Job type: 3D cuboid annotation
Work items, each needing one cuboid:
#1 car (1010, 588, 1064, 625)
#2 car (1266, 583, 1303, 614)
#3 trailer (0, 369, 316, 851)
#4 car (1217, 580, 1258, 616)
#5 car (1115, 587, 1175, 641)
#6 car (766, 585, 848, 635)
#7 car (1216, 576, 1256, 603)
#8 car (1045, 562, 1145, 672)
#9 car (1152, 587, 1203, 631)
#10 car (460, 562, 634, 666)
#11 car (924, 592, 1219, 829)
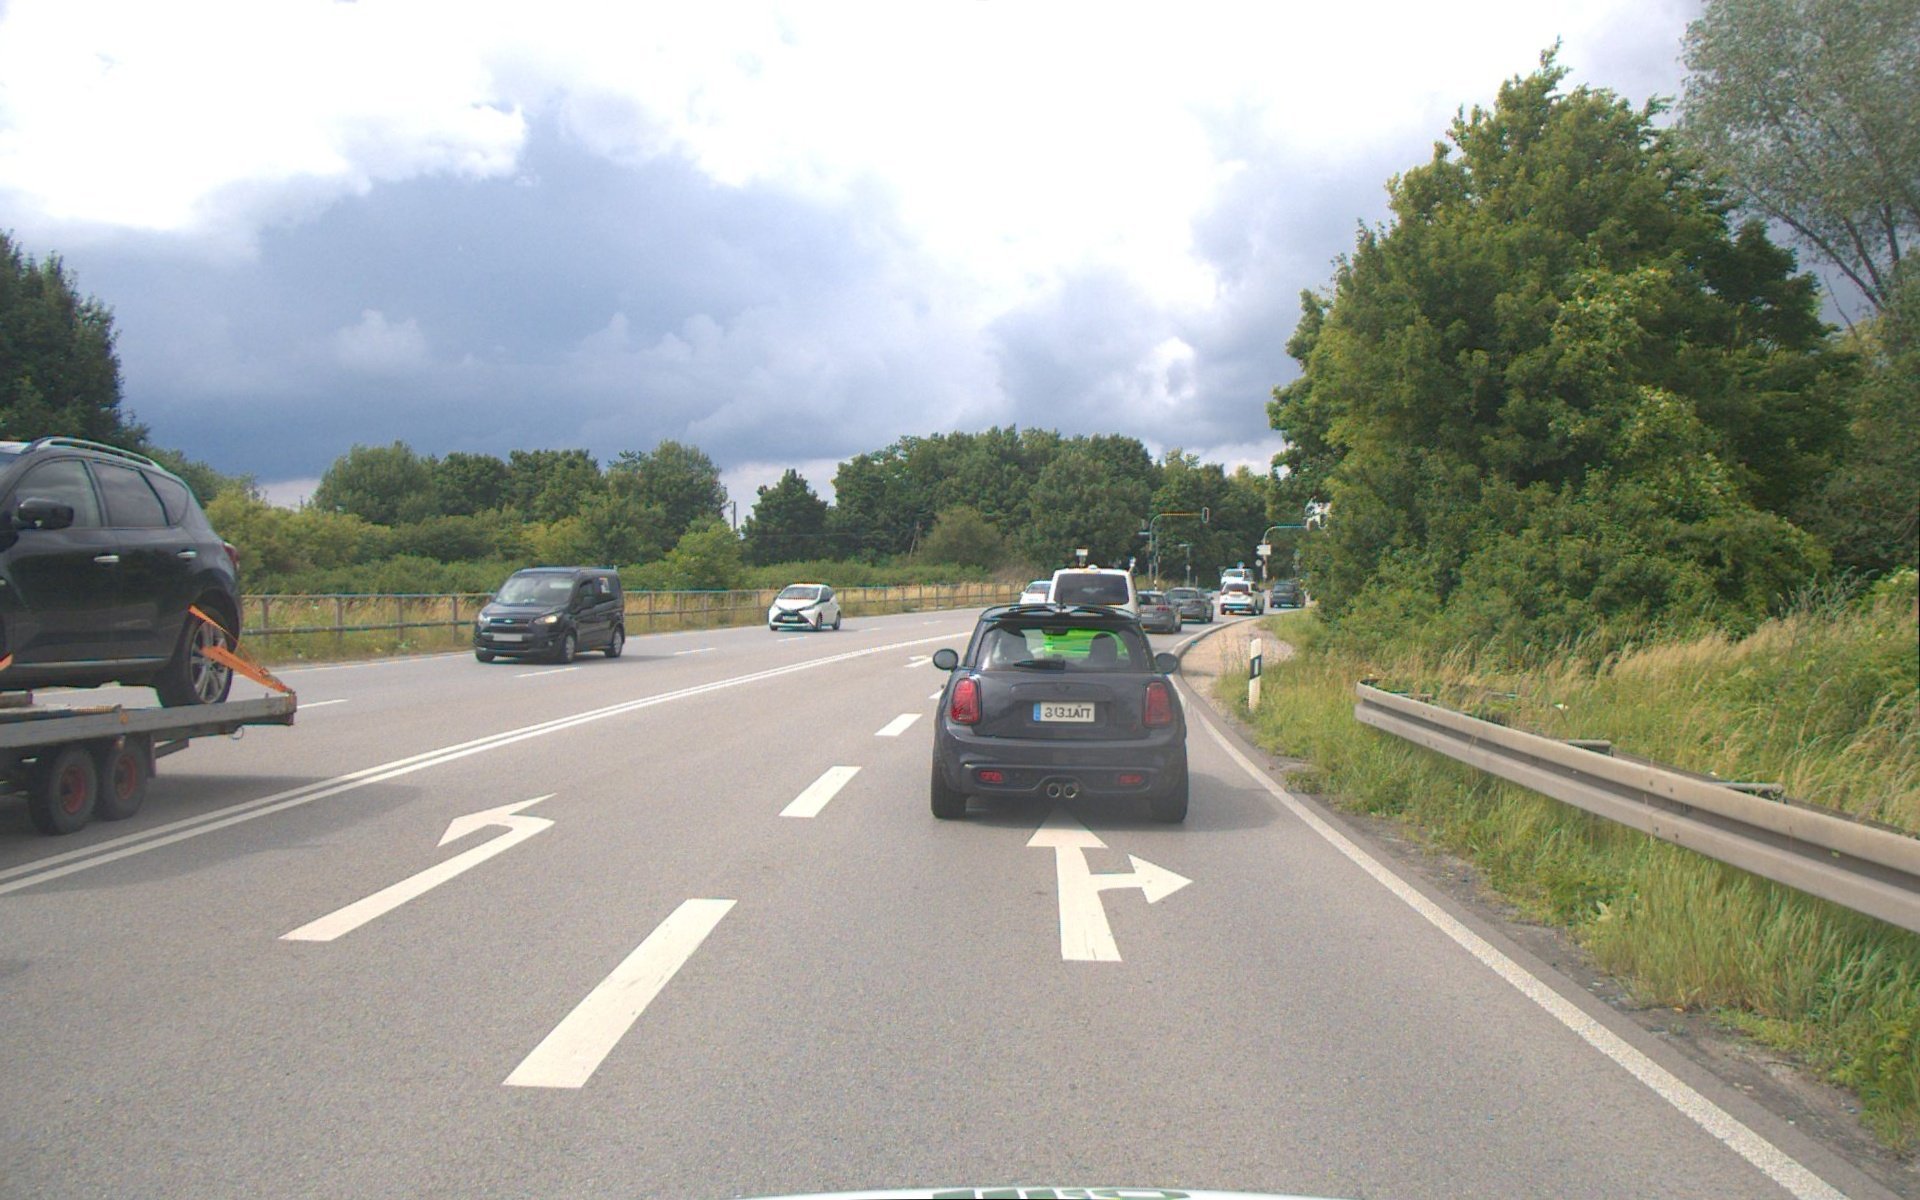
[{"bbox_3d":[3.458,0.267,73.697,1.693,1.544,4.003,2,0,13],"label":"car"},{"bbox_3d":[19.107,-0.099,97.486,1.951,1.713,4.003,2,0,9],"label":"car"},{"bbox_3d":[-5.944,0.029,9.130,1.982,2.487,6.966,1,0,0],"label":"trailer"},{"bbox_3d":[13.988,-0.075,83.574,1.951,1.713,4.003,2,0,9],"label":"car"},{"bbox_3d":[6.445,0.478,57.448,1.951,1.713,4.003,2,0,7],"label":"car"},{"bbox_3d":[-4.874,0.289,53.135,1.836,1.515,3.747,1,1,7],"label":"car"},{"bbox_3d":[21.845,-0.843,130.892,1.954,2.049,4.665,1,1,24],"label":"car"},{"bbox_3d":[2.671,0.323,32.732,1.806,2.022,3.843,1,0,5],"label":"car"},{"bbox_3d":[9.163,0.366,69.403,1.951,1.713,3.980,2,0,9],"label":"car"},{"bbox_3d":[-7.870,0.231,31.942,1.951,1.828,4.322,1,1,5],"label":"car"},{"bbox_3d":[0.670,0.706,12.371,1.808,1.453,3.839,1,0,-2],"label":"car"}]
